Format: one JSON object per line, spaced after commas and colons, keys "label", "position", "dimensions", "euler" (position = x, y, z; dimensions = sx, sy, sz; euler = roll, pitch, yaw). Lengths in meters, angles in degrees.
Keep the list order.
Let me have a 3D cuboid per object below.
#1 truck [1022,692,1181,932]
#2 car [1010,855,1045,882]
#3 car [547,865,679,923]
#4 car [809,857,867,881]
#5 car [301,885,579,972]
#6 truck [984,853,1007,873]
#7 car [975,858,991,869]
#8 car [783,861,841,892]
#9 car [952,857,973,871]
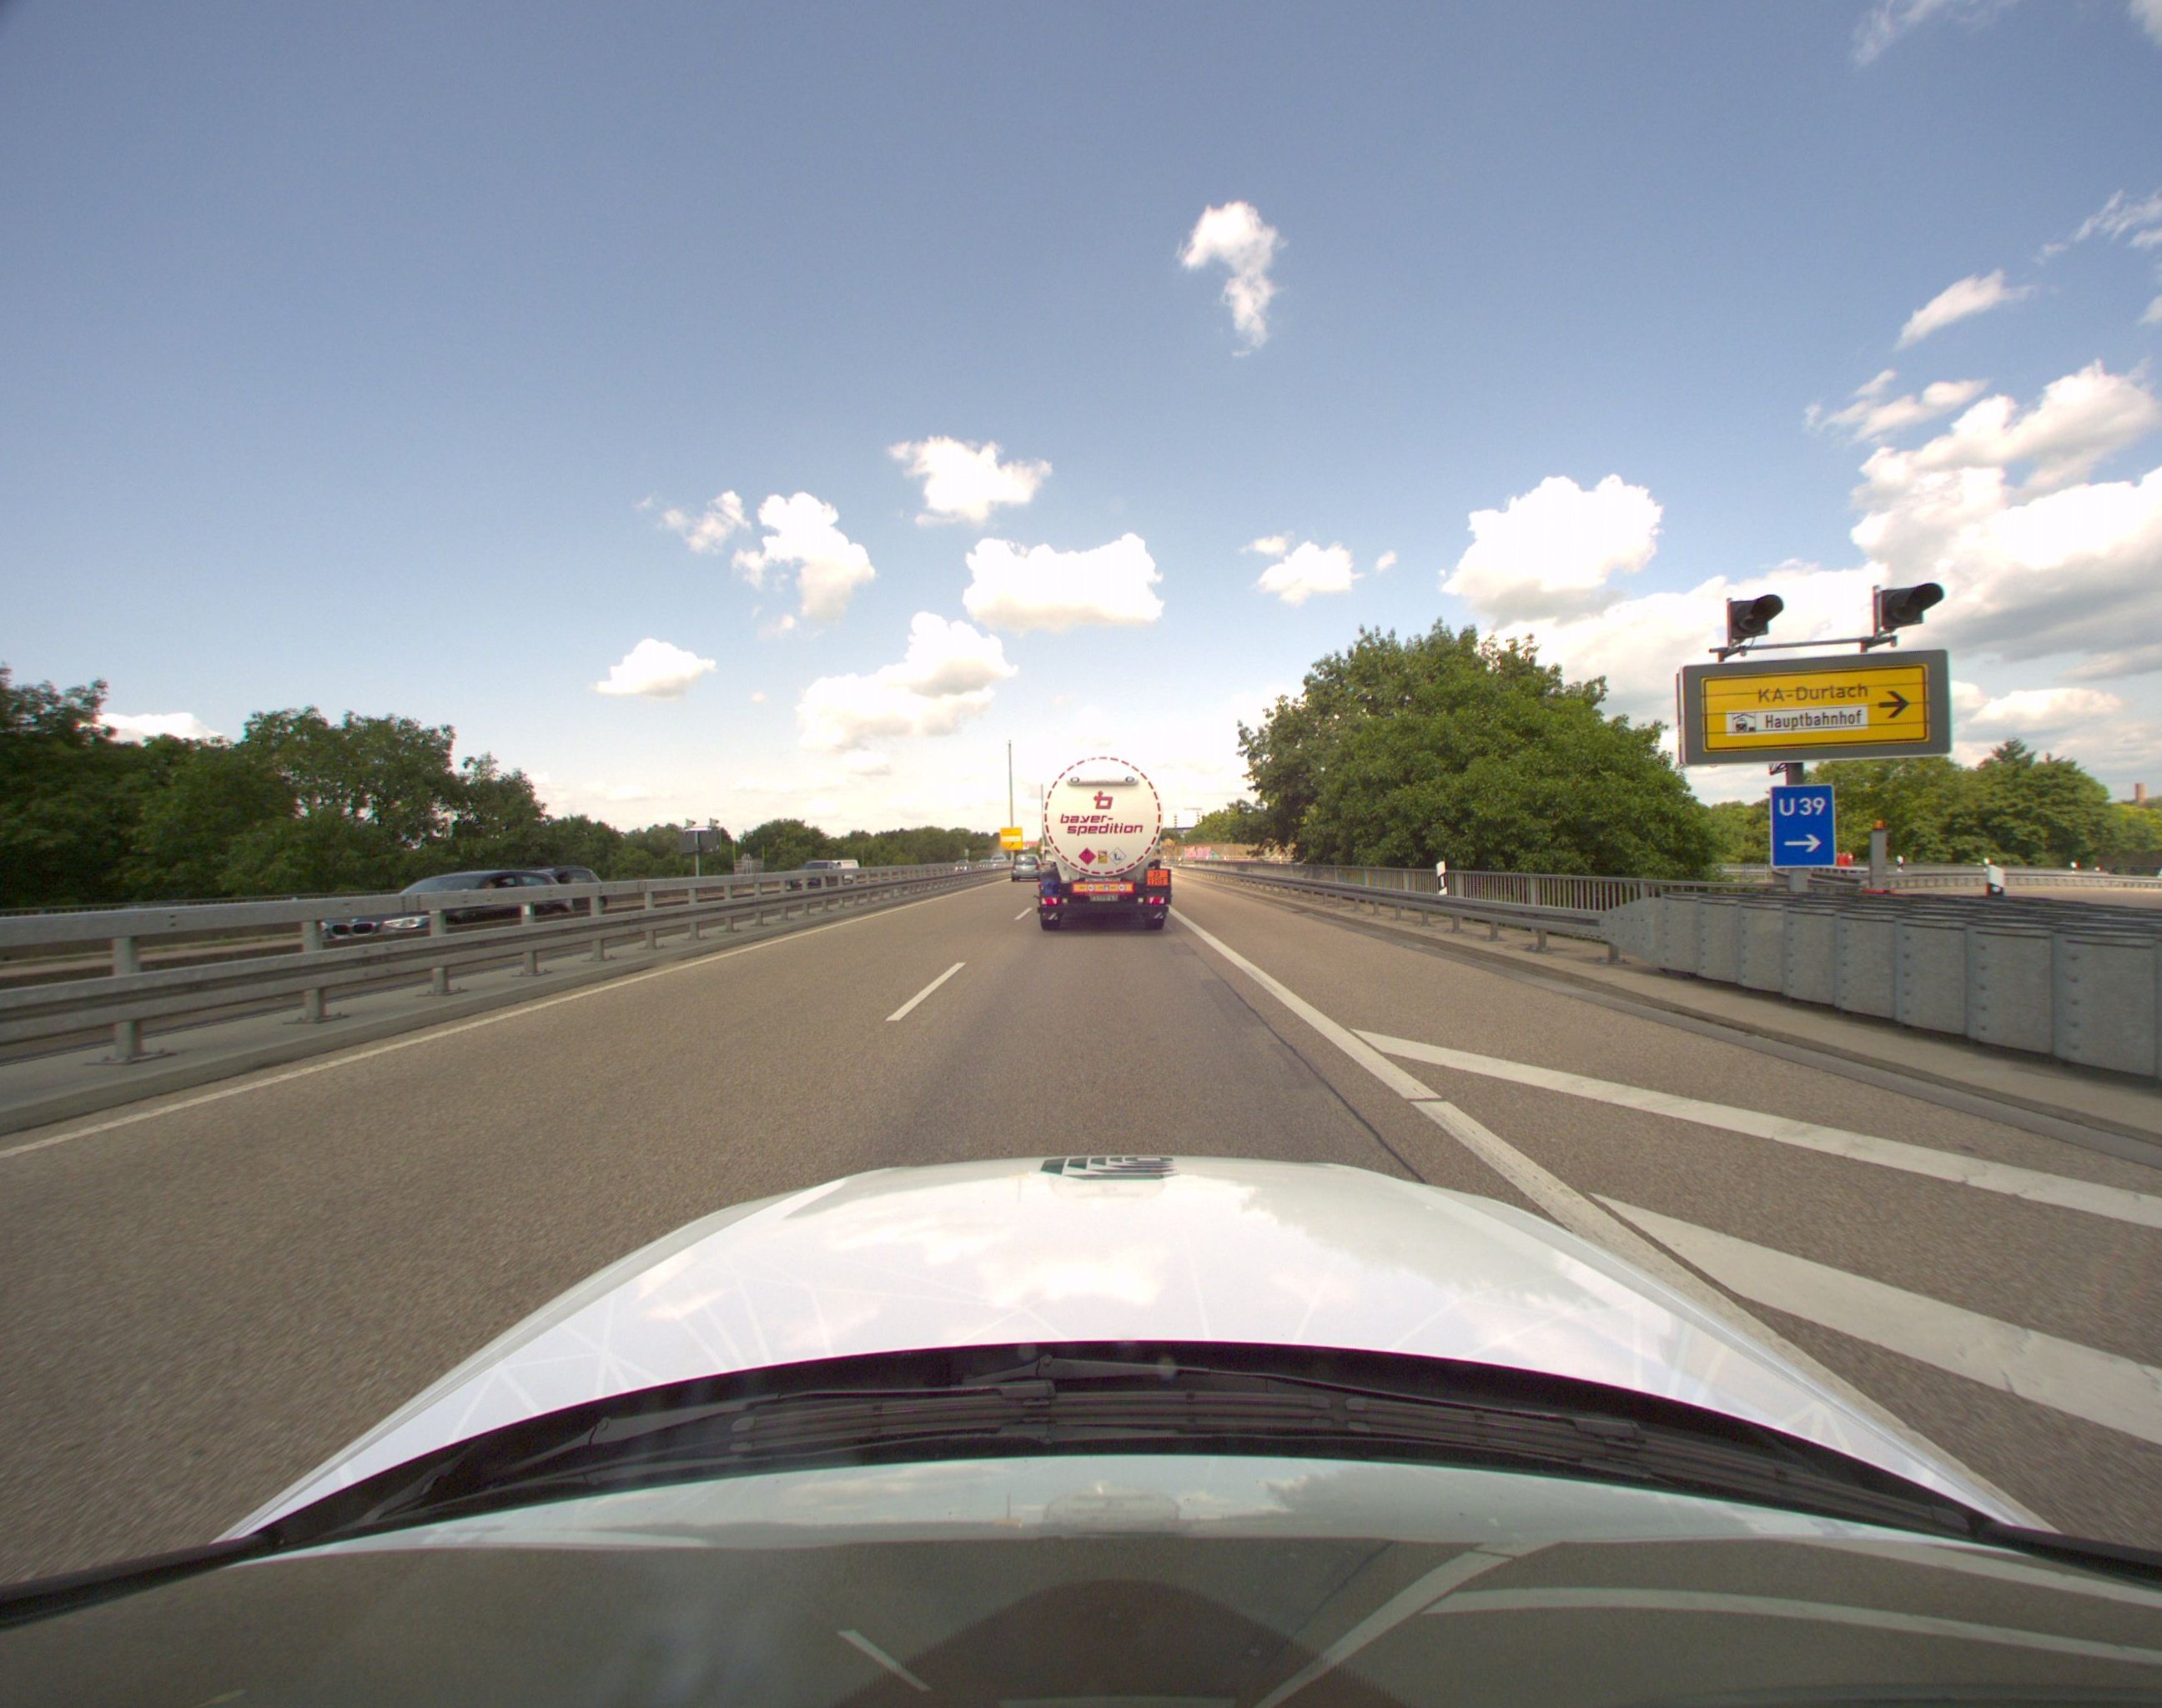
{"label": "truck", "position": [0.402, -0.749, 18.815], "dimensions": [2.886, 4.369, 8.029], "euler": [0, 0, 0]}
{"label": "car", "position": [-3.161, 0.825, 48.868], "dimensions": [1.741, 1.531, 4.000], "euler": [-1, 0, 0]}
{"label": "car", "position": [-14.626, 1.184, 25.734], "dimensions": [1.815, 1.639, 4.000], "euler": [0, 0, 1]}
{"label": "car", "position": [-19.942, 1.158, 67.017], "dimensions": [1.977, 1.898, 5.192], "euler": [0, 0, 18]}
{"label": "car", "position": [-10.954, 1.200, 14.345], "dimensions": [1.675, 1.185, 4.000], "euler": [0, 0, 1]}
{"label": "truck", "position": [-9.793, 1.011, 93.396], "dimensions": [1.865, 2.187, 5.191], "euler": [0, 0, 2]}
{"label": "car", "position": [-13.835, 1.265, 115.085], "dimensions": [1.896, 1.529, 4.241], "euler": [0, 0, -1]}
{"label": "car", "position": [-15.325, 1.239, 46.670], "dimensions": [1.885, 1.640, 4.510], "euler": [0, 0, -1]}
{"label": "car", "position": [-14.202, 1.201, 97.796], "dimensions": [1.822, 1.581, 3.956], "euler": [0, 0, 2]}
